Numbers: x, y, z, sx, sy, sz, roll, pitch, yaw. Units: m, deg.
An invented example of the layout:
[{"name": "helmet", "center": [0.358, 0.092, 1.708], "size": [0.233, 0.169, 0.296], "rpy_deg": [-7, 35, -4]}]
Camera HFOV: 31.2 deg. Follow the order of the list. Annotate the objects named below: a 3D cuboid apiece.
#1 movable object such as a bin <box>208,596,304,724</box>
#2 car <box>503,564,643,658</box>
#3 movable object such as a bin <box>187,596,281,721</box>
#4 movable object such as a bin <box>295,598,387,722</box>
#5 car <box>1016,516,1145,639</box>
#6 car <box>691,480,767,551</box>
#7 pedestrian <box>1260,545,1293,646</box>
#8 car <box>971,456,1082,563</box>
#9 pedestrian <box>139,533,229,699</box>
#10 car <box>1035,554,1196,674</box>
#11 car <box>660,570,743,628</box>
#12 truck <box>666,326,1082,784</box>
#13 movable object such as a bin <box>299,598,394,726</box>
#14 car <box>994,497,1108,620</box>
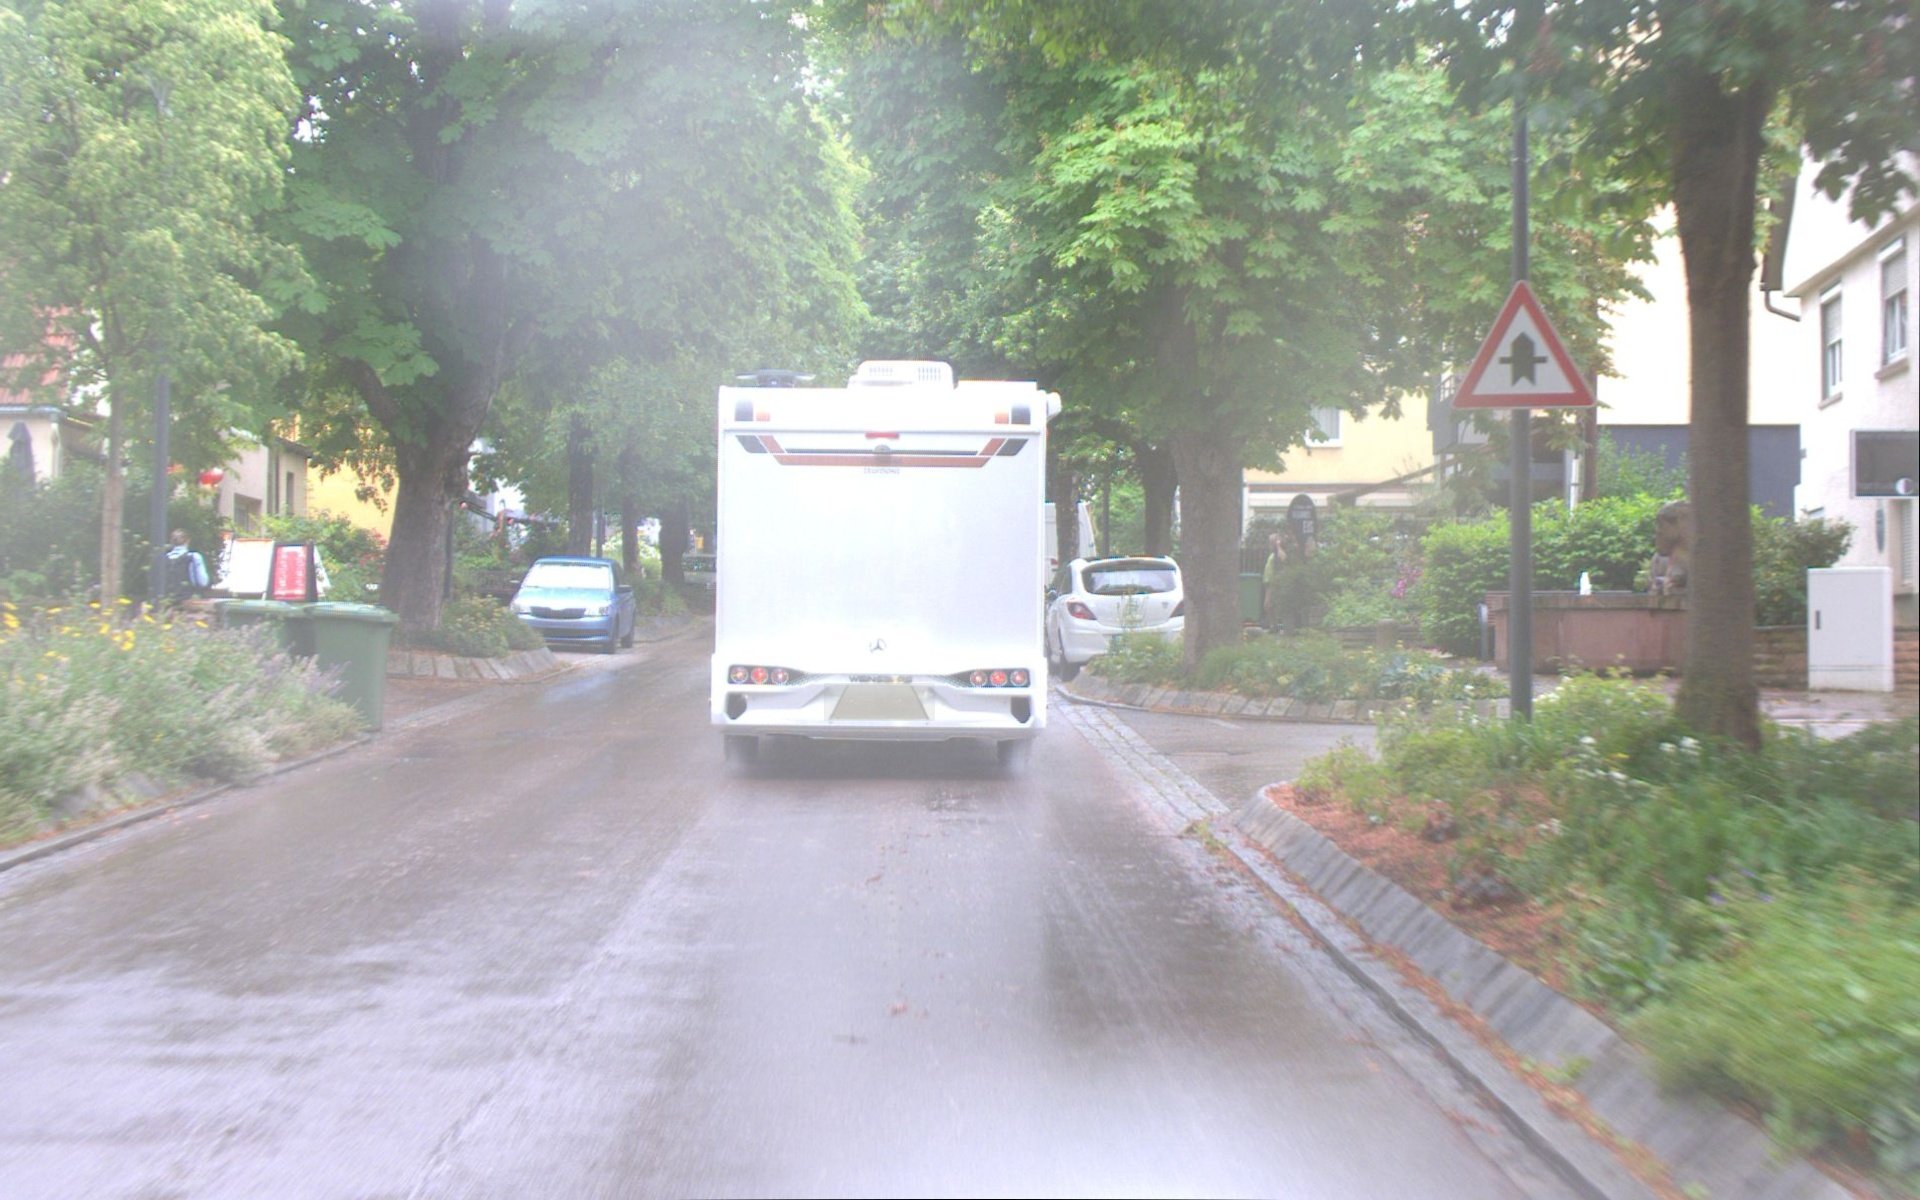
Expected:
[{"name": "movable object such as a bin", "center": [-5.979, 0.507, 29.210], "size": [0.663, 1.070, 0.596], "rpy_deg": [0, 0, 4]}, {"name": "car", "center": [-6.021, 0.143, 53.804], "size": [1.749, 1.391, 3.796], "rpy_deg": [1, 1, 0]}, {"name": "movable object such as a bin", "center": [-6.312, 0.503, 29.916], "size": [0.663, 1.070, 0.596], "rpy_deg": [0, 0, 4]}, {"name": "movable object such as a bin", "center": [-5.372, 0.513, 29.848], "size": [0.663, 1.064, 0.596], "rpy_deg": [0, 0, 4]}, {"name": "car", "center": [2.035, -0.392, 59.068], "size": [1.993, 2.007, 4.000], "rpy_deg": [1, 1, -1]}, {"name": "car", "center": [-6.769, -2.461, 101.135], "size": [1.993, 2.007, 4.000], "rpy_deg": [1, 1, 0]}, {"name": "pedestrian", "center": [5.492, -0.083, 59.648], "size": [0.491, 1.725, 0.768], "rpy_deg": [0, 1, 9]}, {"name": "car", "center": [1.264, -1.731, 66.931], "size": [1.993, 2.007, 4.000], "rpy_deg": [1, 1, -1]}, {"name": "pedestrian", "center": [-7.549, 0.149, 33.467], "size": [0.650, 1.588, 0.932], "rpy_deg": [1, 0, -1]}, {"name": "car", "center": [1.846, 0.139, 41.892], "size": [1.680, 1.395, 3.795], "rpy_deg": [0, 1, -2]}, {"name": "car", "center": [-6.822, -0.049, 91.077], "size": [1.772, 1.384, 4.545], "rpy_deg": [2, 1, 1]}, {"name": "truck", "center": [-0.603, -0.326, 25.733], "size": [2.694, 2.975, 6.237], "rpy_deg": [1, 1, -1]}, {"name": "movable object such as a bin", "center": [-5.194, 0.523, 29.137], "size": [0.663, 1.070, 0.596], "rpy_deg": [0, 0, 4]}, {"name": "car", "center": [1.868, -0.869, 72.074], "size": [2.141, 2.451, 5.435], "rpy_deg": [1, 1, -1]}]
